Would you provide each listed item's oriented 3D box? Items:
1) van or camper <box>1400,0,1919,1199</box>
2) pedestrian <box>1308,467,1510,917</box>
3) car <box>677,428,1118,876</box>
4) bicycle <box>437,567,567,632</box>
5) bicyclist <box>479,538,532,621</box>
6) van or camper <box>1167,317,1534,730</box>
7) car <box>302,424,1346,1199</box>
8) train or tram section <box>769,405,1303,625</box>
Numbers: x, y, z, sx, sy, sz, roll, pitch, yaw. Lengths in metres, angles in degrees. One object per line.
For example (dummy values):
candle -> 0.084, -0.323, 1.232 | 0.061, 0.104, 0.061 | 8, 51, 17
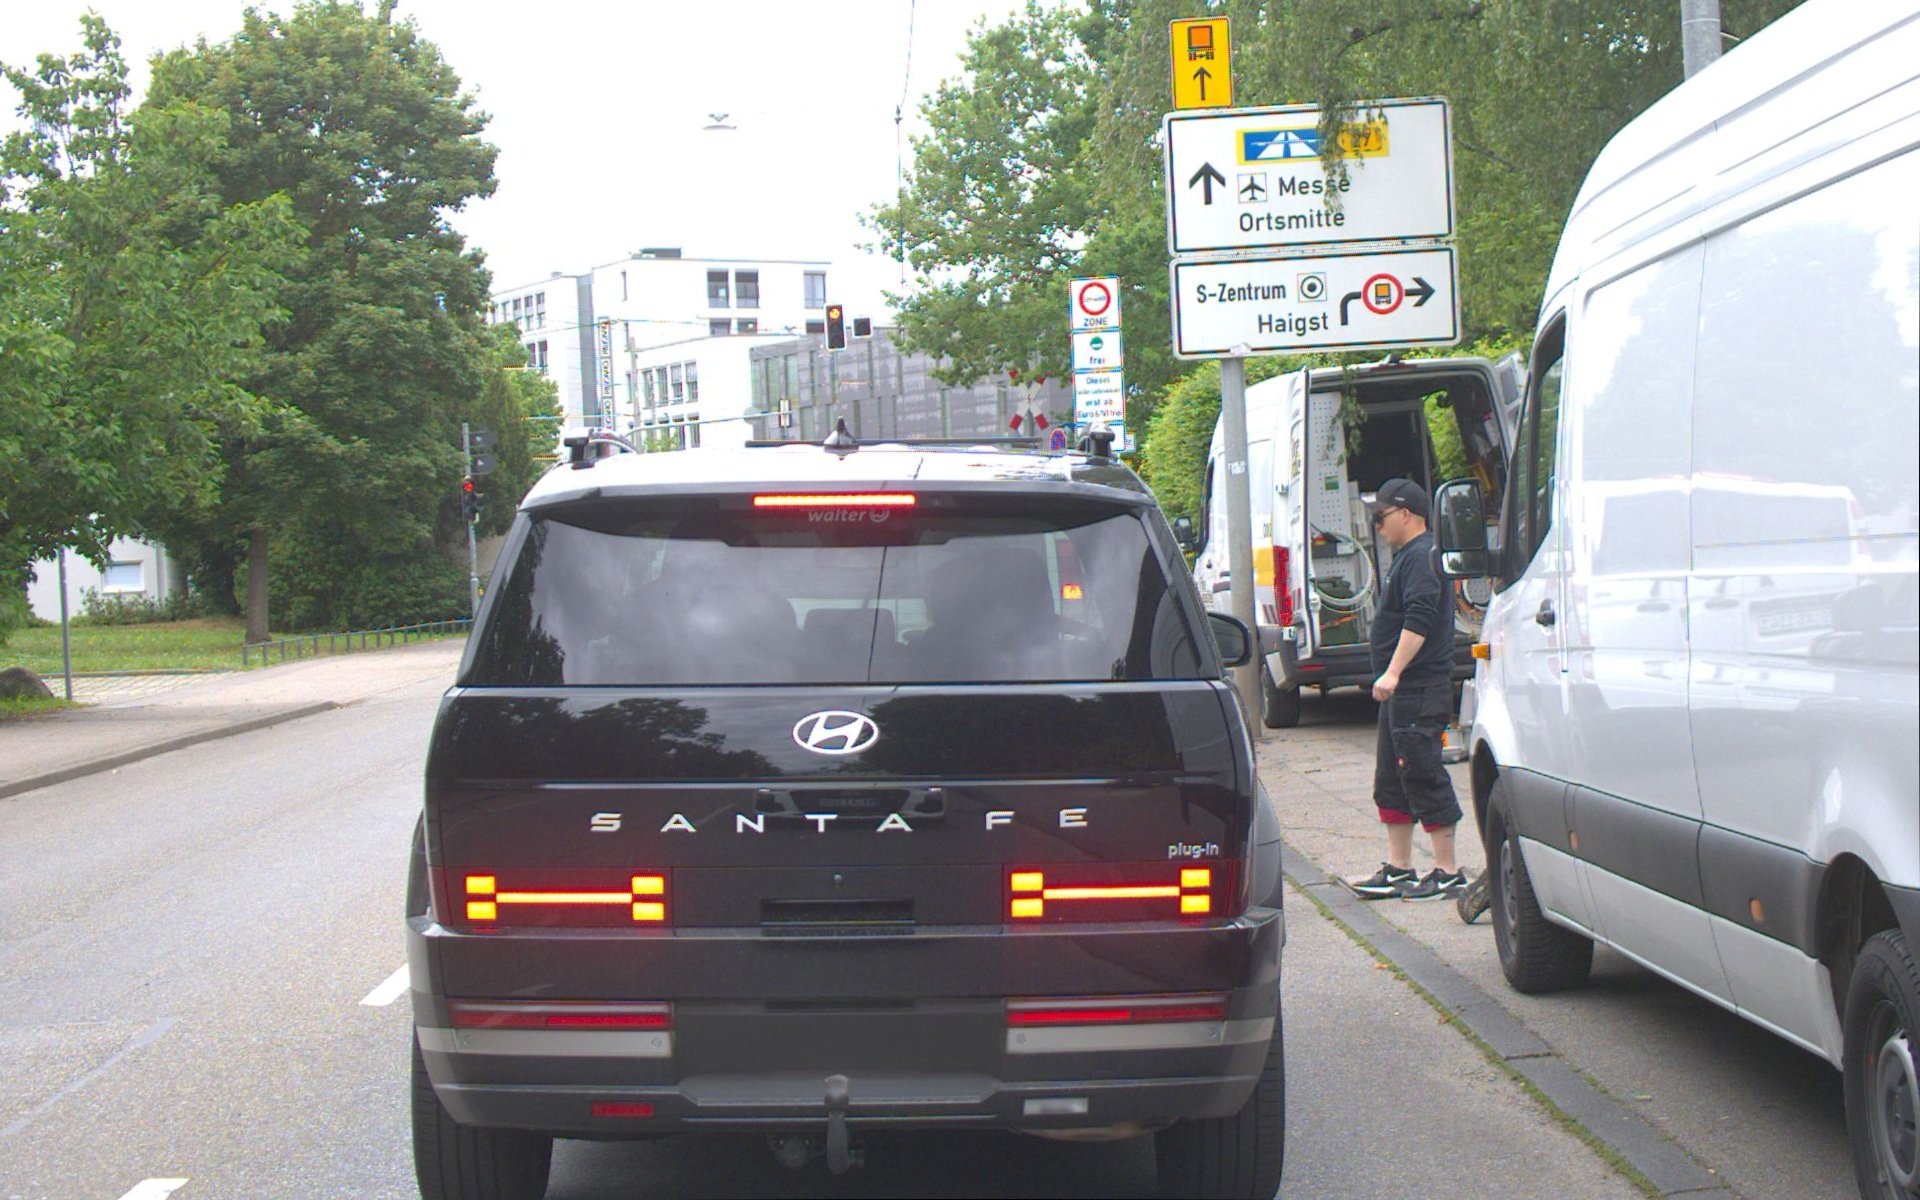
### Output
van or camper -> 2.589, -0.064, 8.071 | 1.963, 2.619, 6.359 | -4, 1, -1
pedestrian -> 1.776, 0.358, 13.651 | 0.617, 1.737, 0.605 | -1, -1, -10
car -> -0.330, 0.202, 17.545 | 1.963, 1.994, 4.000 | -1, 1, -1
bicycle -> -9.206, -0.002, 69.096 | 2.494, 1.275, 0.677 | -1, -1, 14
bicyclist -> -9.123, -0.409, 69.072 | 0.856, 1.653, 0.677 | -1, -1, 14
van or camper -> 2.917, -0.583, 26.896 | 1.963, 2.787, 5.287 | -4, 1, -1
car -> -0.302, 0.499, 8.543 | 1.963, 1.705, 4.000 | -1, 1, -1
train or tram section -> 1.258, -1.756, 82.116 | 3.193, 4.507, 18.683 | 0, -1, -31
